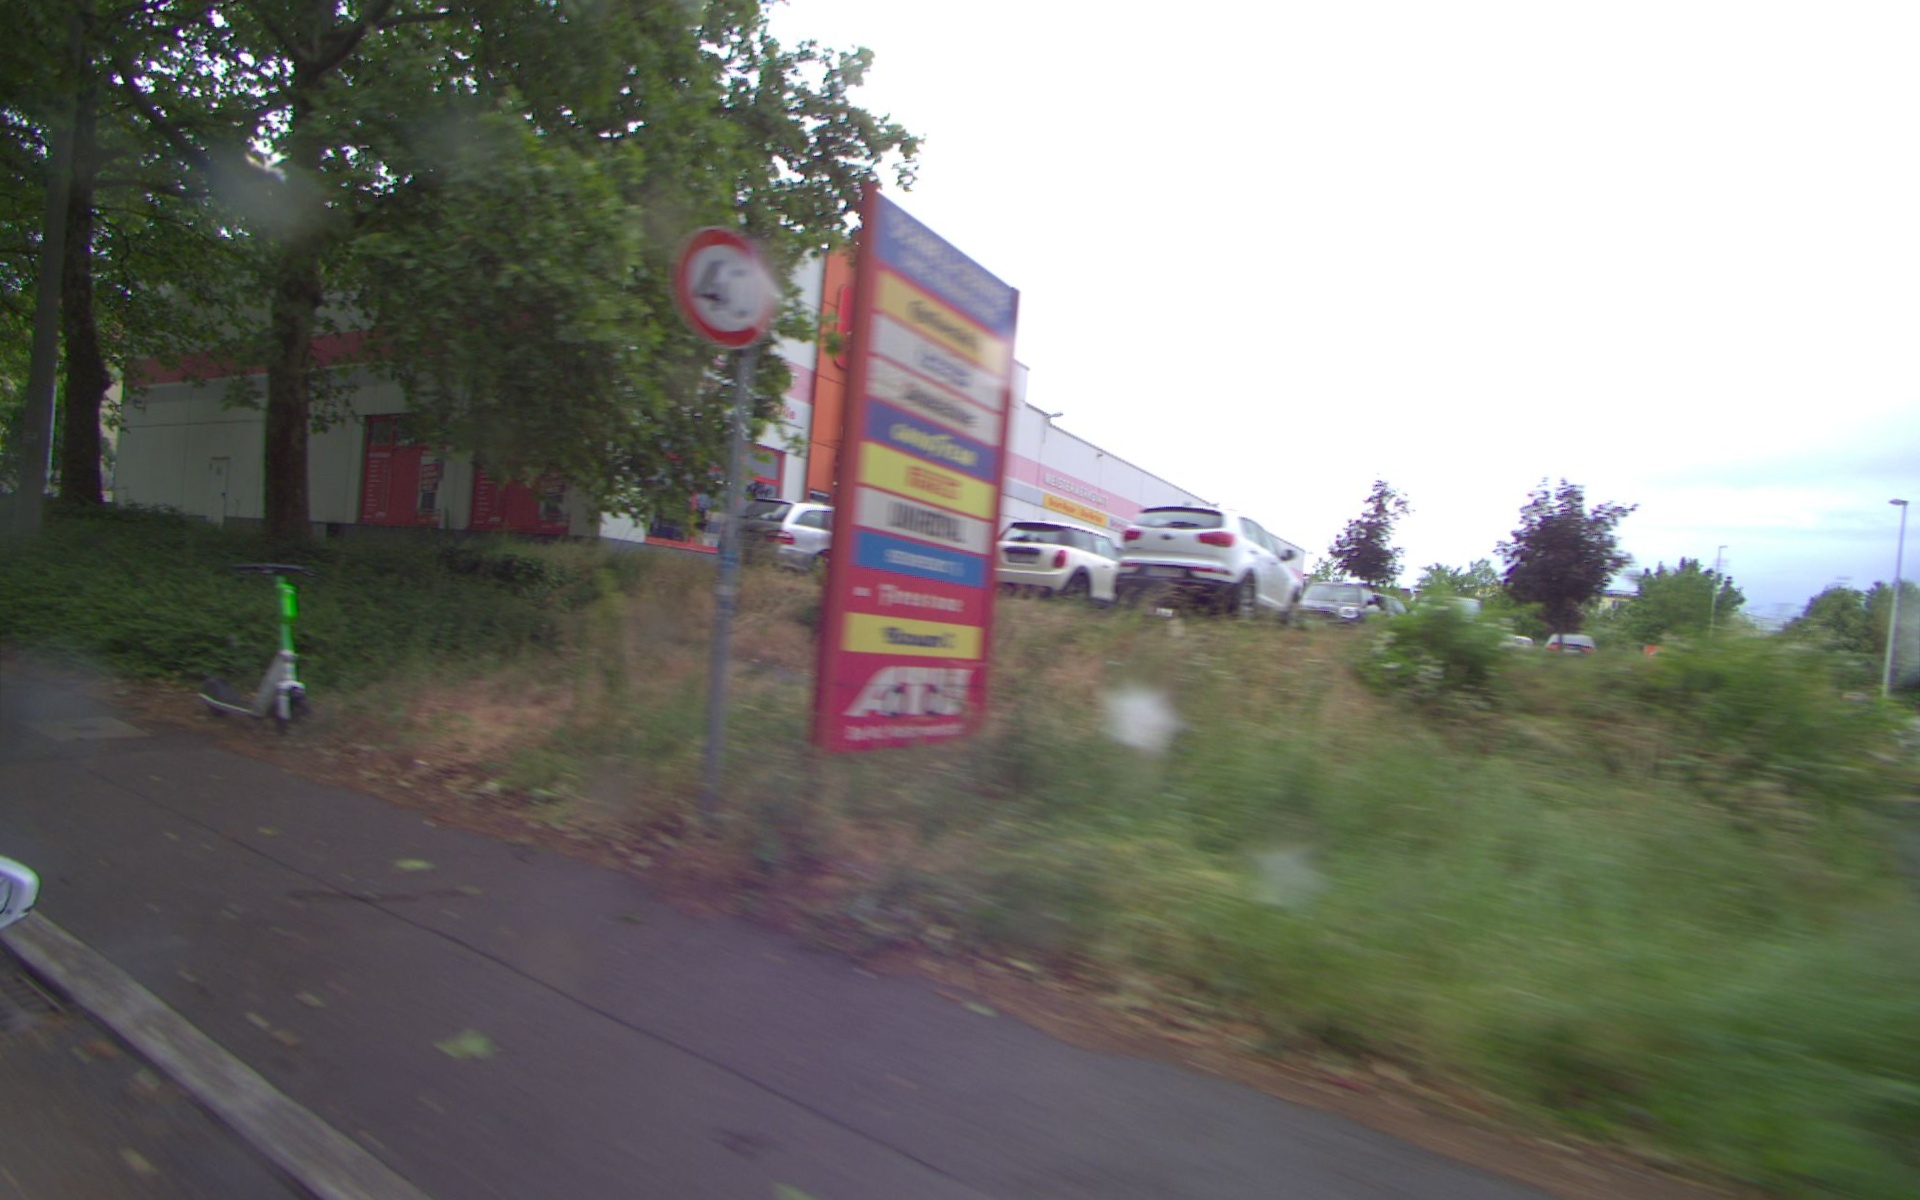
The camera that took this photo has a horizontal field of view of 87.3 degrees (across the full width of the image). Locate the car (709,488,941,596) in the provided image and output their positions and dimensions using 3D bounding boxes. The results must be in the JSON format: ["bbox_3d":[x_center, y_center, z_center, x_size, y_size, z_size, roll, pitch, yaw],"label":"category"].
[{"bbox_3d":[-2.383,-1.018,19.087,1.771,1.350,4.617,7,-1,31],"label":"car"}]

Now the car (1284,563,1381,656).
[{"bbox_3d":[9.251,0.295,24.781,1.632,1.802,3.999,5,-4,28],"label":"car"}]

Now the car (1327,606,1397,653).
[{"bbox_3d":[16.448,1.223,41.078,1.534,1.551,3.361,4,-4,41],"label":"car"}]

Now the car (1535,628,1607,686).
[{"bbox_3d":[22.571,2.154,37.297,1.882,1.802,3.999,5,-4,28],"label":"car"}]

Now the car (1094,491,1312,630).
[{"bbox_3d":[3.691,-0.487,14.695,1.871,1.392,4.109,6,-2,31],"label":"car"}]

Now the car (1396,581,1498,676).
[{"bbox_3d":[11.533,0.733,23.755,1.882,1.802,3.999,5,-4,28],"label":"car"}]

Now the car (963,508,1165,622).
[{"bbox_3d":[1.866,-0.523,16.880,1.802,1.308,3.927,6,-2,31],"label":"car"}]

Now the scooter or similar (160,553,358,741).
[{"bbox_3d":[-4.923,0.308,7.044,1.503,1.154,0.426,4,-3,30],"label":"scooter or similar"}]

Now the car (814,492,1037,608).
[{"bbox_3d":[-0.483,-0.812,17.917,1.854,1.485,4.104,7,0,33],"label":"car"}]
